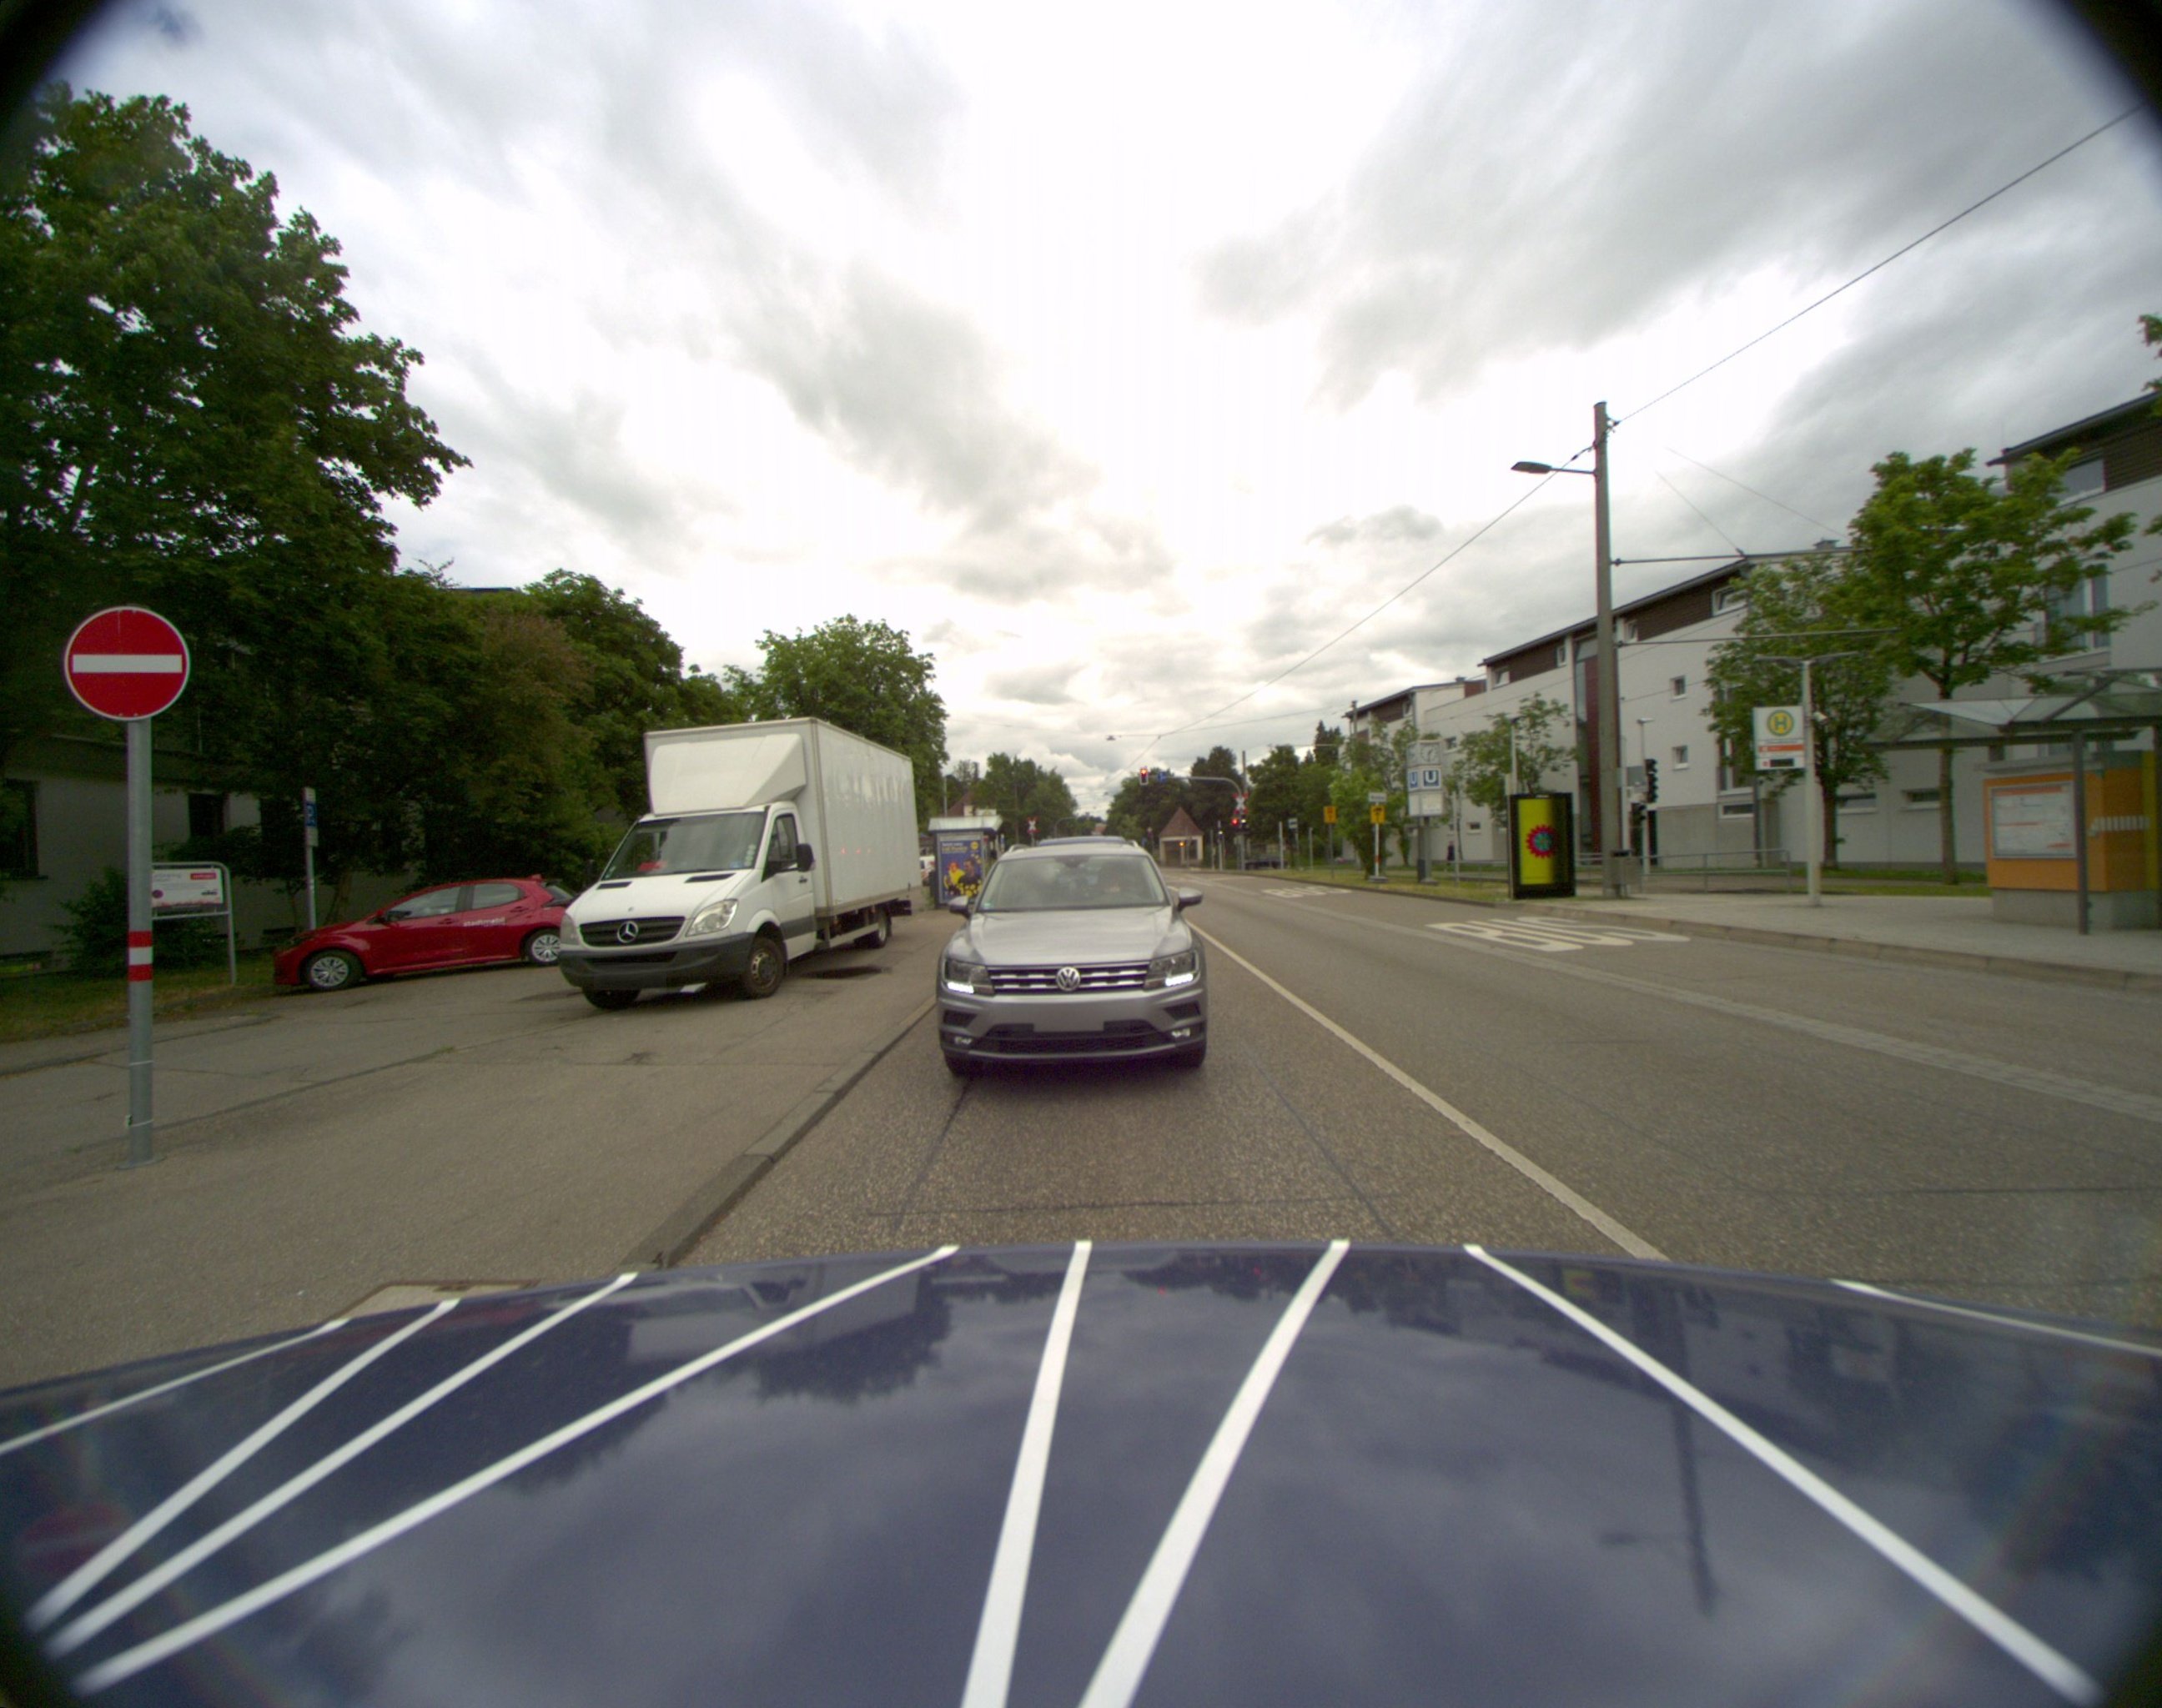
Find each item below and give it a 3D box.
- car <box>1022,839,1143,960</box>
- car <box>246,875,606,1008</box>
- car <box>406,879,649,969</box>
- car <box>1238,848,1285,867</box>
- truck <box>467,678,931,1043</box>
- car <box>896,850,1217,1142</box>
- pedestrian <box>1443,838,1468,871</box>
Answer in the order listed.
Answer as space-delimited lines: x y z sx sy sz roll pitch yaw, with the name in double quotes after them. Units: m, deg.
0.053 0.708 14.035 1.849 1.850 4.000 -2 0 1 "car"
-10.013 1.256 12.058 3.902 1.475 1.680 -5 2 -24 "car"
-11.721 1.414 16.429 4.005 1.402 1.521 -5 2 -31 "car"
17.608 0.353 74.265 3.998 1.696 1.928 -2 1 -2 "car"
-4.438 0.013 11.196 2.541 3.407 7.775 -2 1 2 "truck"
-0.107 0.821 6.604 1.811 1.638 4.330 -2 0 1 "car"
18.607 0.015 37.758 0.782 1.586 0.780 -2 1 -8 "pedestrian"
